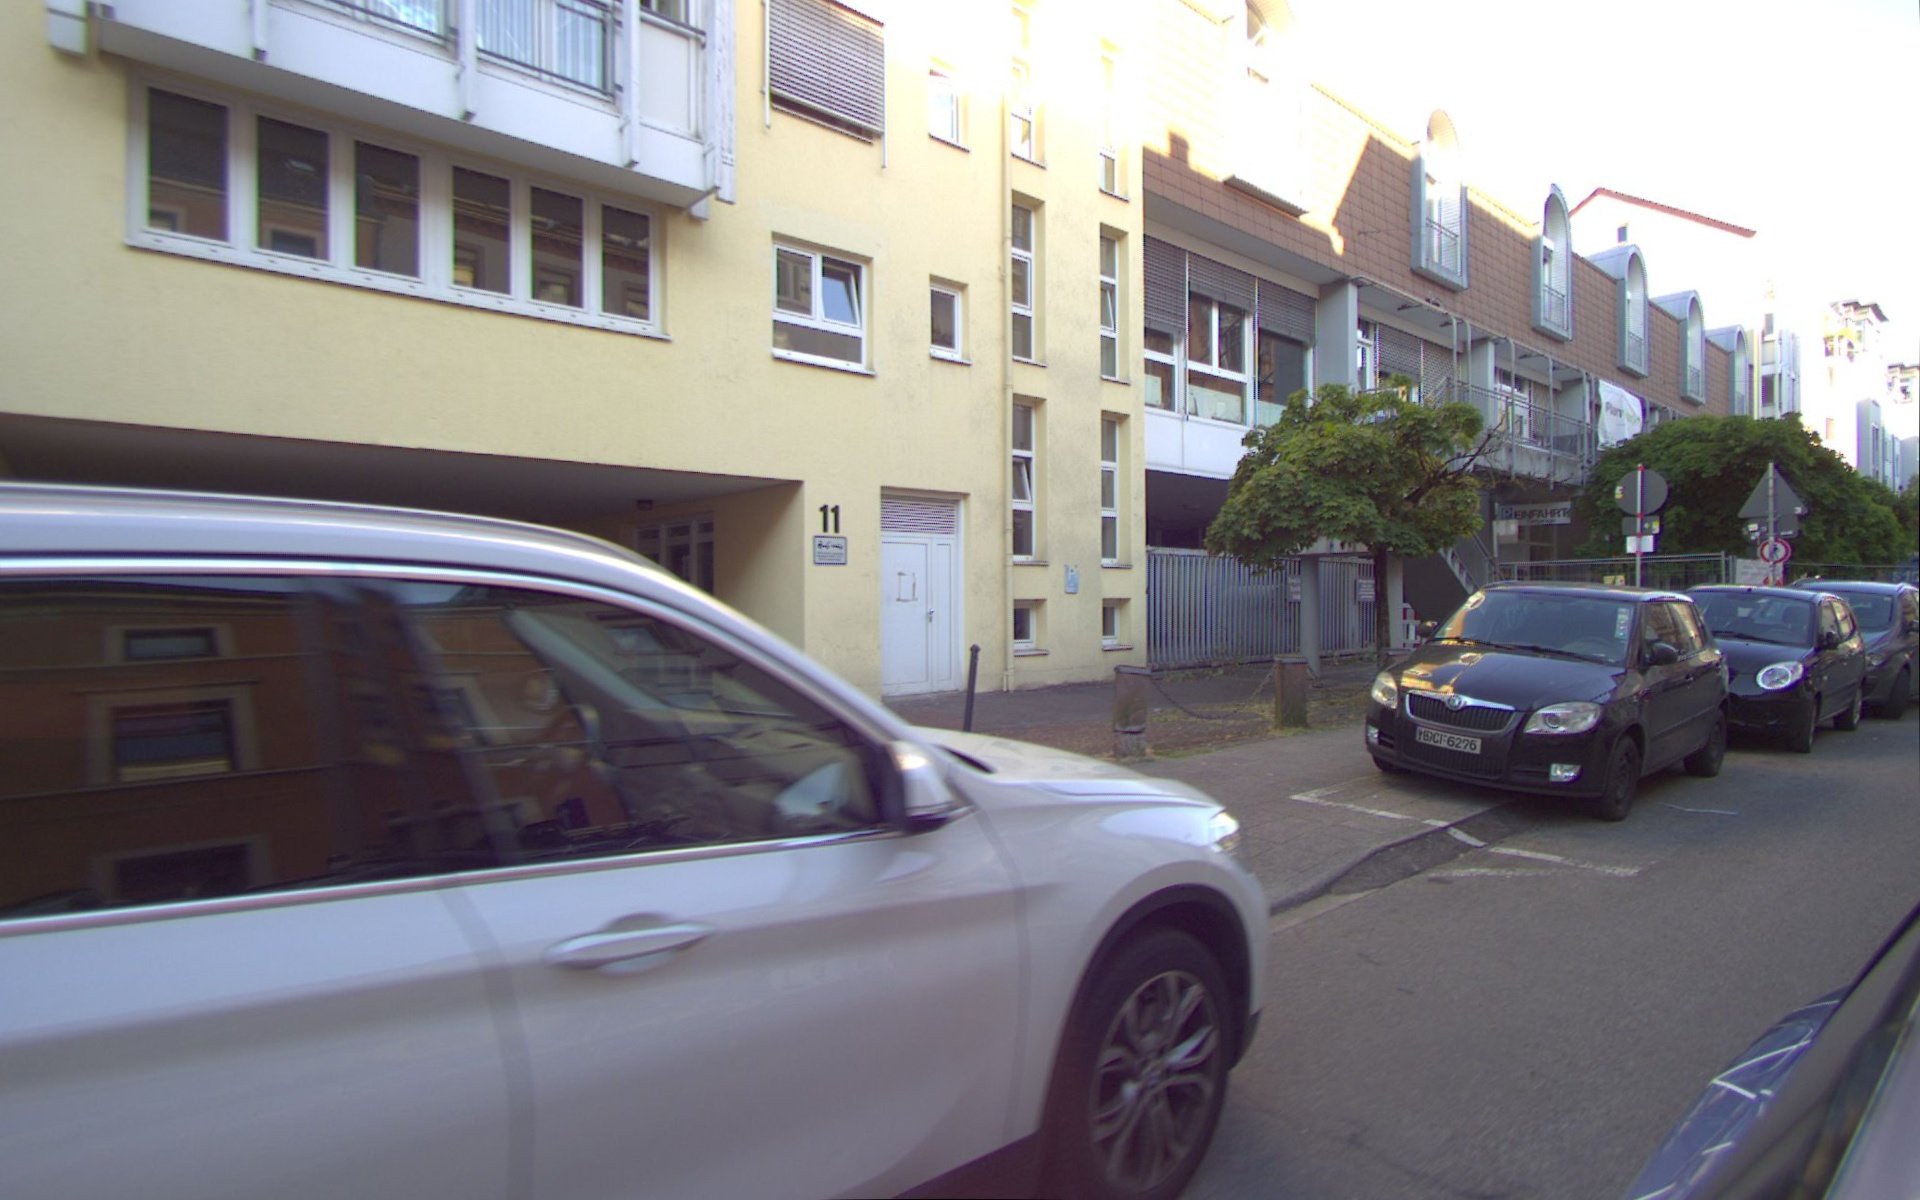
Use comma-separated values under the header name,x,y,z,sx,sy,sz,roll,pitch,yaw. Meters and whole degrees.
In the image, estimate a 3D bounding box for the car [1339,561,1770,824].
name,x,y,z,sx,sy,sz,roll,pitch,yaw
car,4.706,0.489,7.756,4.052,1.504,1.623,-1,2,-41

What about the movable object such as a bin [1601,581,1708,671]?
name,x,y,z,sx,sy,sz,roll,pitch,yaw
movable object such as a bin,11.189,0.418,16.357,1.241,1.394,0.795,-2,-1,24

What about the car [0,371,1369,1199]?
name,x,y,z,sx,sy,sz,roll,pitch,yaw
car,-1.005,0.589,2.078,4.513,1.632,1.723,-1,0,-44

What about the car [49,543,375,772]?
name,x,y,z,sx,sy,sz,roll,pitch,yaw
car,-7.221,0.400,9.601,1.967,1.680,4.110,-1,1,-44

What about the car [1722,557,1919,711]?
name,x,y,z,sx,sy,sz,roll,pitch,yaw
car,11.726,0.367,13.259,4.444,1.705,1.752,-1,-1,-39

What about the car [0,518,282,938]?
name,x,y,z,sx,sy,sz,roll,pitch,yaw
car,-4.950,0.540,5.447,1.665,1.628,3.900,-1,-1,-41

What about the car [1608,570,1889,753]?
name,x,y,z,sx,sy,sz,roll,pitch,yaw
car,8.311,0.521,10.563,3.629,1.577,1.624,-1,-1,-41
